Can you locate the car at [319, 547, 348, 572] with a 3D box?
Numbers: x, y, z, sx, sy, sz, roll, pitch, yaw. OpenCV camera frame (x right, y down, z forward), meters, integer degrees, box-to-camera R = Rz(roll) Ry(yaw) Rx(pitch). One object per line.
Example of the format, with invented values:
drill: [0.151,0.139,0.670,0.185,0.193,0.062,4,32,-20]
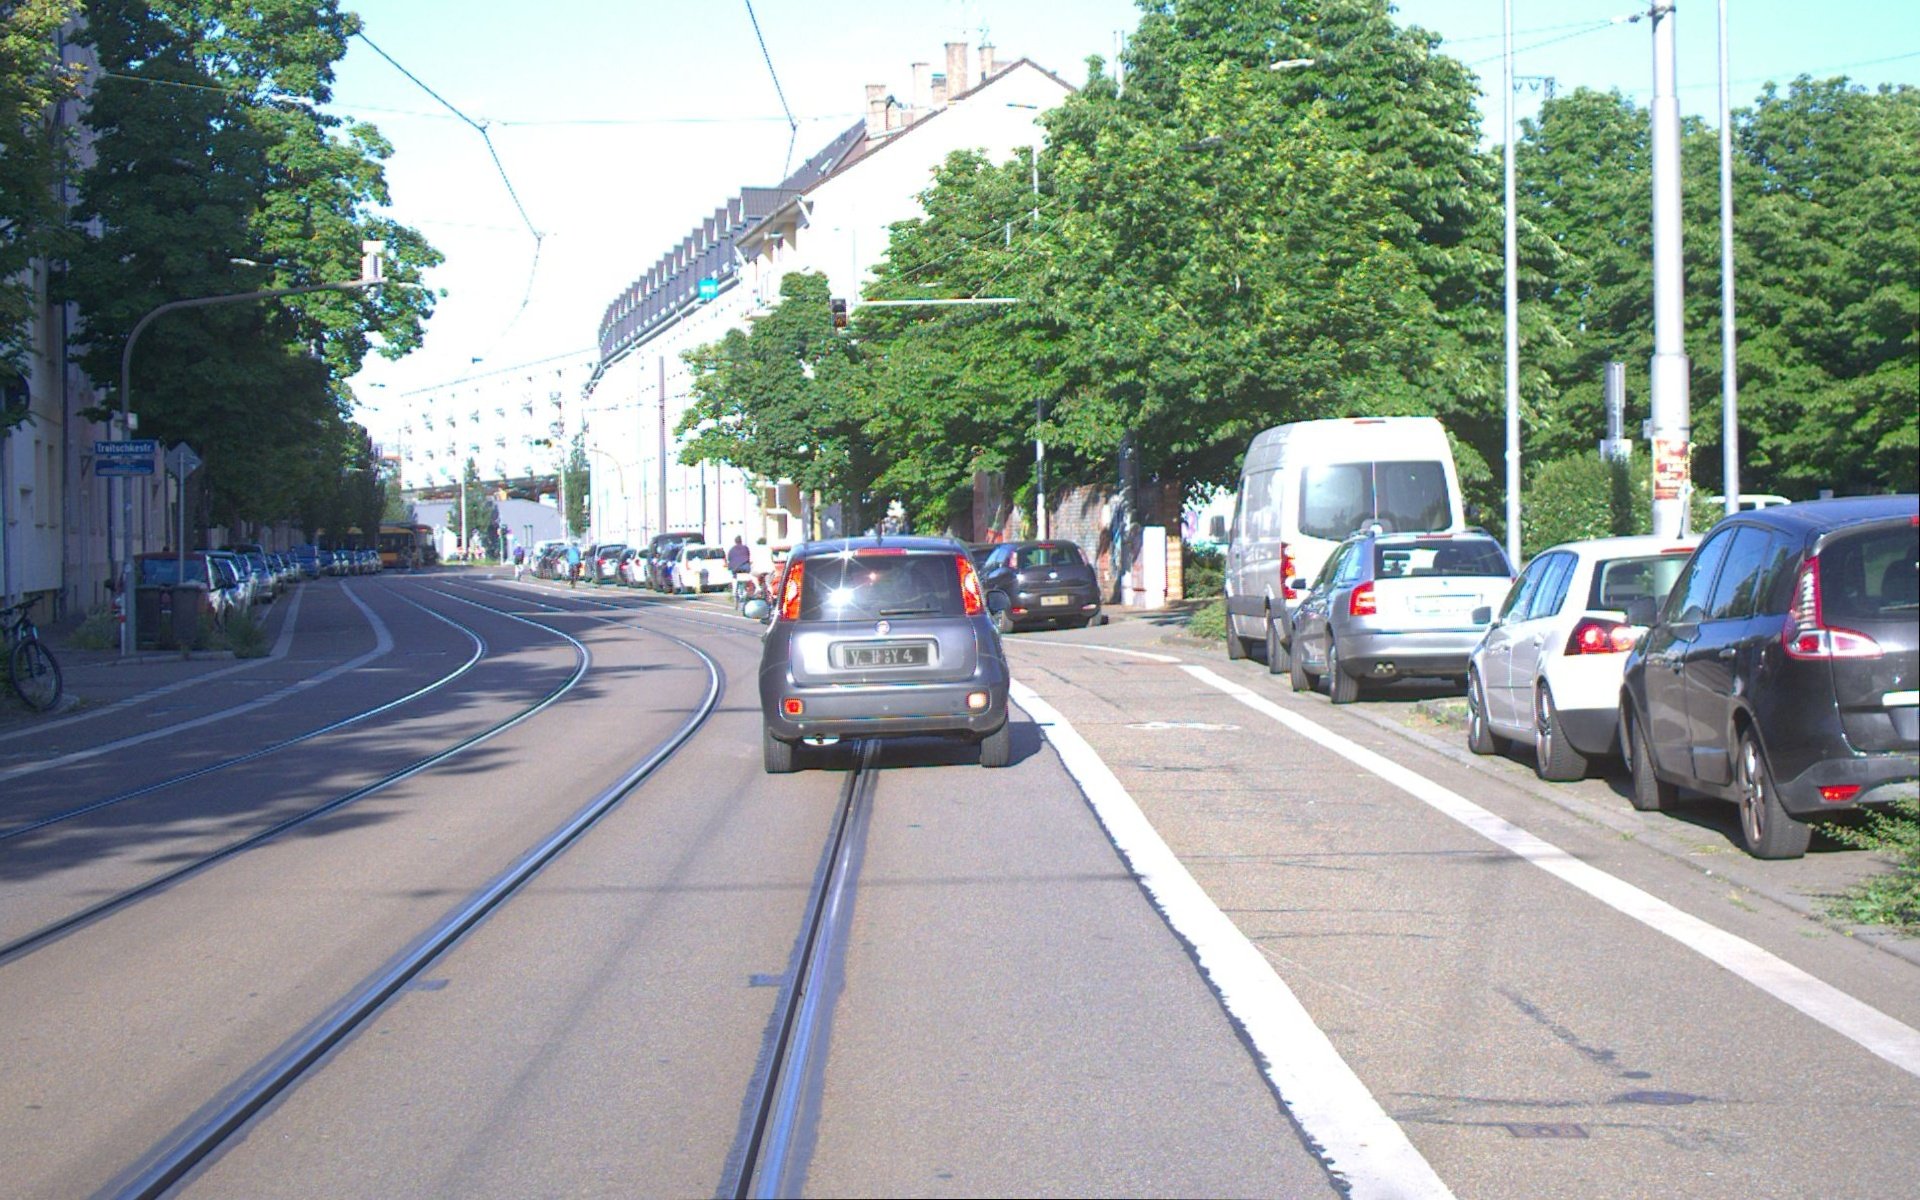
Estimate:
car: [-38.134,-2.451,209.242,1.706,1.491,3.723,0,1,-10]

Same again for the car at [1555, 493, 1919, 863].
car: [4.319,0.315,17.085,1.727,1.599,4.343,0,1,-3]

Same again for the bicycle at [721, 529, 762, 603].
bicycle: [-5.278,-0.826,82.967,0.675,1.741,2.158,0,1,-11]

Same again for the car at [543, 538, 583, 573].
car: [-18.566,-2.065,160.621,1.582,1.593,3.377,0,1,-11]

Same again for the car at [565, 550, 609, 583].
car: [-16.112,-1.451,148.265,1.582,1.400,3.377,0,1,-11]

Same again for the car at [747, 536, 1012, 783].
car: [-0.534,0.337,23.701,1.650,1.536,4.235,-1,1,-1]

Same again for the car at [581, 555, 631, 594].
car: [-14.071,-1.028,136.614,1.582,1.400,3.377,-4,2,-11]

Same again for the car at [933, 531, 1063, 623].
car: [0.643,-0.435,61.375,1.688,1.525,4.356,-2,1,-7]

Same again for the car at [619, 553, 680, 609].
car: [-11.046,-0.697,122.041,1.655,1.937,4.666,0,1,-11]

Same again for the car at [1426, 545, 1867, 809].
car: [4.235,0.415,21.878,1.727,1.507,4.252,0,1,-3]

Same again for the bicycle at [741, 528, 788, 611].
bicycle: [-4.185,-0.664,73.476,0.675,1.741,2.158,0,1,-11]

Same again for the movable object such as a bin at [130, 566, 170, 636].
movable object such as a bin: [-11.530,0.018,48.959,0.484,0.984,0.660,0,1,-8]

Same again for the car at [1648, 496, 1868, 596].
car: [17.470,-1.188,75.324,4.279,2.007,1.774,-2,1,-6]

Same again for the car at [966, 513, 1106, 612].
car: [1.228,-0.631,57.011,1.688,1.525,4.001,-2,1,-7]

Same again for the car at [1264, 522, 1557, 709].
car: [3.975,0.098,31.071,1.910,1.524,4.601,-1,1,-1]

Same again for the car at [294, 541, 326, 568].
car: [-36.624,-2.564,193.745,1.706,1.491,3.723,0,1,-10]

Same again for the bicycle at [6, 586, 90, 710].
bicycle: [-8.708,0.441,32.863,0.512,1.130,2.032,0,1,-7]

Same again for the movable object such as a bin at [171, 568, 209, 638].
movable object such as a bin: [-10.991,0.040,49.088,0.484,0.984,0.660,0,1,-8]

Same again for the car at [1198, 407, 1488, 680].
car: [4.083,-0.615,37.768,2.180,2.656,6.092,-3,1,-2]

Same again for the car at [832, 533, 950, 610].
car: [-1.511,-0.614,73.506,1.688,1.525,4.001,-2,1,-13]

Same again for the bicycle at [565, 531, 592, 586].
bicycle: [-14.327,-1.564,128.989,0.741,2.007,2.812,0,1,-11]

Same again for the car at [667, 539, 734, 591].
car: [-8.031,-1.075,106.211,1.655,1.566,3.500,0,1,-11]

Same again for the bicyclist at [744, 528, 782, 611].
bicyclist: [-4.211,-0.654,73.579,0.699,1.753,0.758,0,1,-11]

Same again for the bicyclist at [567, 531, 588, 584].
bicyclist: [-14.366,-1.601,129.194,0.715,2.007,0.832,0,1,-11]

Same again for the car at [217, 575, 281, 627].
car: [-21.341,0.019,103.322,1.808,1.503,4.682,0,1,-11]

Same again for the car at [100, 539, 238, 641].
car: [-12.339,-0.179,53.809,1.688,1.525,4.001,0,1,-7]

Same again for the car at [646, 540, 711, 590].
car: [-9.070,-1.118,110.498,1.655,1.566,3.877,0,1,-11]

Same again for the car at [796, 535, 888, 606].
car: [-2.729,-0.679,78.559,1.688,1.525,4.001,-2,1,-7]

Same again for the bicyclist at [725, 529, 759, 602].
bicyclist: [-5.262,-0.830,82.920,0.699,1.753,0.758,0,1,-11]

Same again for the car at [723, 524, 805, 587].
car: [-5.042,-1.140,88.243,1.635,1.503,3.398,-3,1,-10]

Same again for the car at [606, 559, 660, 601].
car: [-12.099,-0.750,127.047,1.655,1.495,3.130,0,1,-11]
